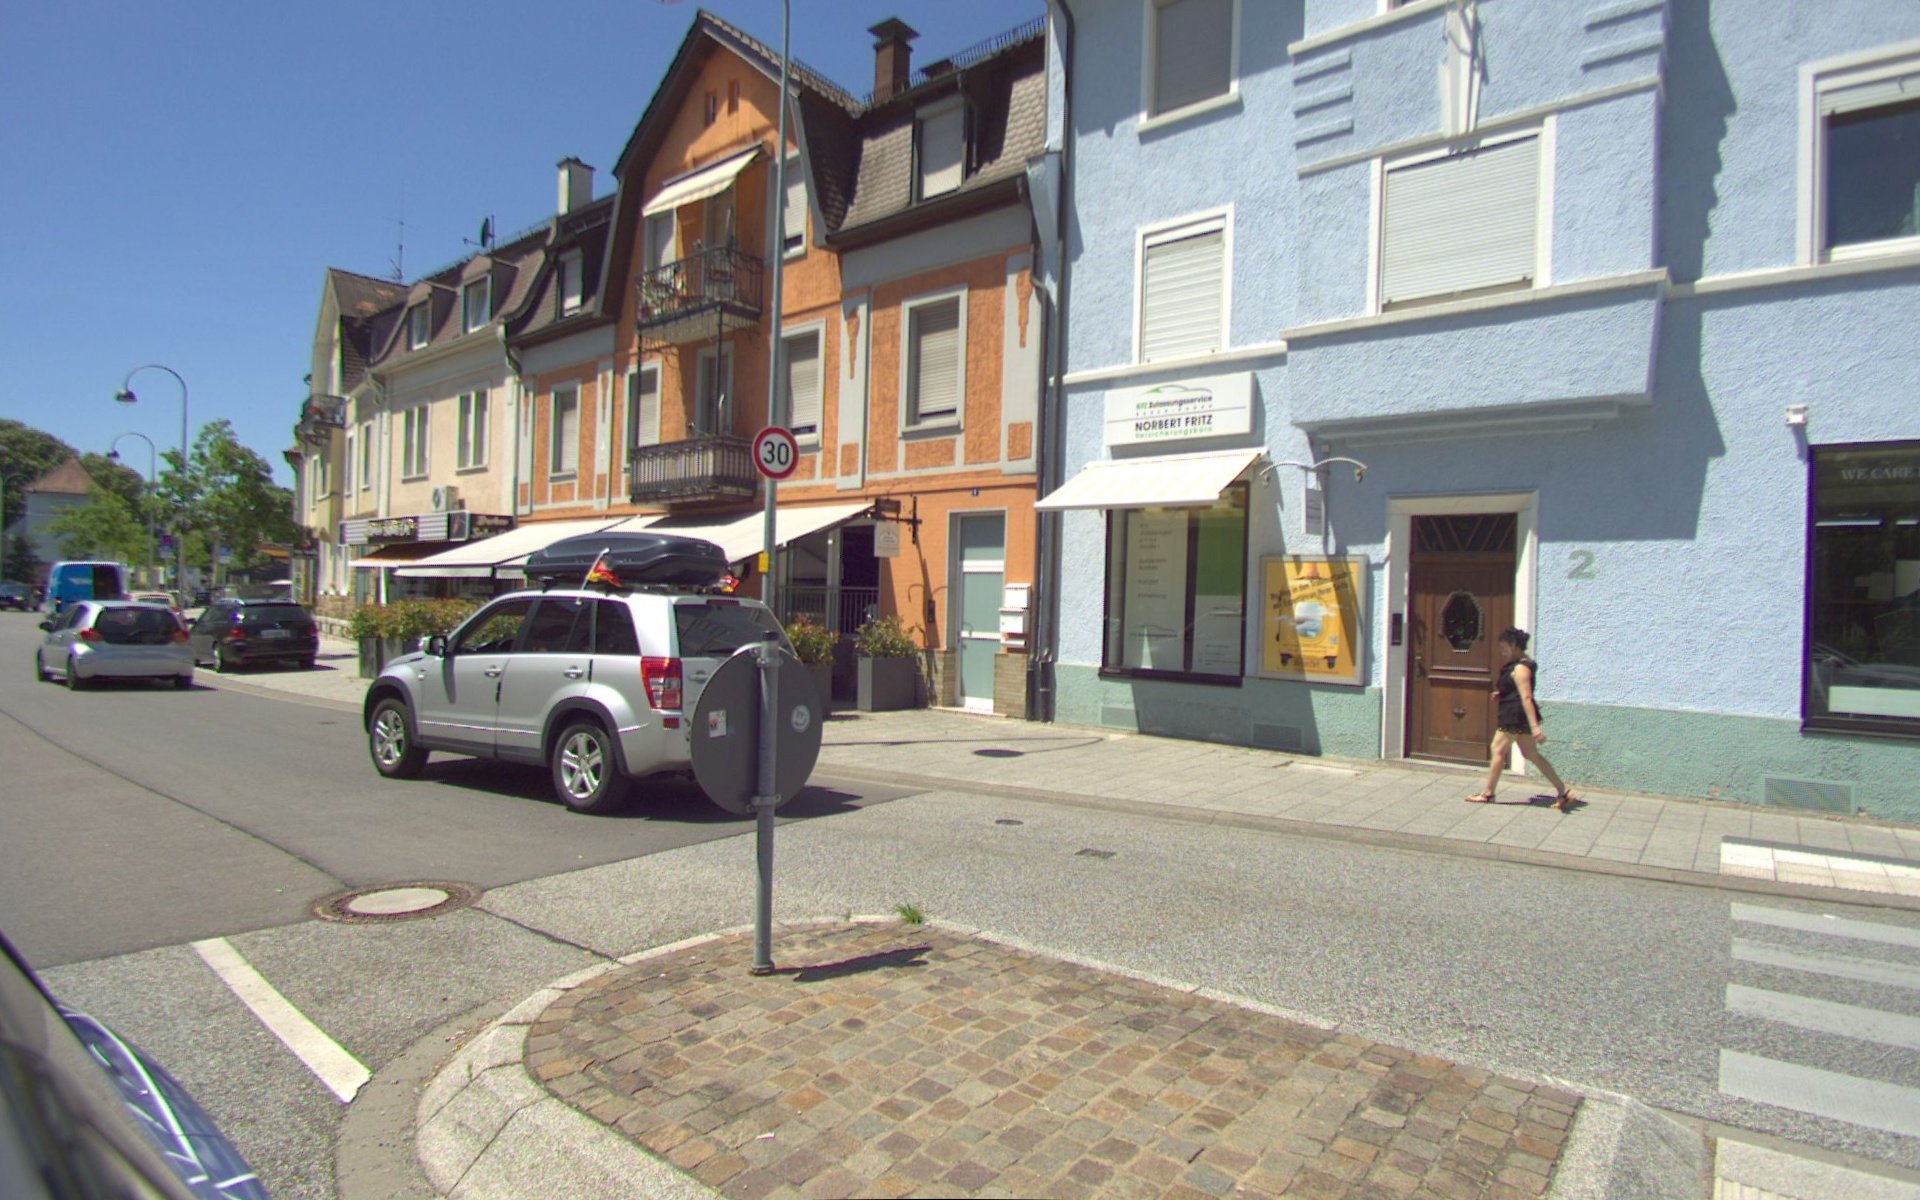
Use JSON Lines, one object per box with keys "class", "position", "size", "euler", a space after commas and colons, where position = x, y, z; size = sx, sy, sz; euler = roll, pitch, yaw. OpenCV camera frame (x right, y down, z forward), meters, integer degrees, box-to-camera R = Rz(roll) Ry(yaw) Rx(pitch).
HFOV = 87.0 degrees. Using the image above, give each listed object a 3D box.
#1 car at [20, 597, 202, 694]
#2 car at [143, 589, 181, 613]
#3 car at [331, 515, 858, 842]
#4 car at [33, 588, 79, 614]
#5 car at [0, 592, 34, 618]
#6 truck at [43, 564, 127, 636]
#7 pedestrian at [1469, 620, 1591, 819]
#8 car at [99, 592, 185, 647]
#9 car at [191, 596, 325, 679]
{"class": "car", "position": [-14.735, 0.746, 17.508], "size": [3.589, 1.469, 1.661], "euler": [1, -3, 38]}
{"class": "car", "position": [-52.336, 0.051, 66.450], "size": [1.655, 1.558, 3.604], "euler": [0, 0, -34]}
{"class": "car", "position": [-3.224, 0.515, 8.632], "size": [4.438, 2.123, 1.909], "euler": [1, -2, 34]}
{"class": "car", "position": [-56.878, 0.055, 63.720], "size": [1.655, 1.558, 3.604], "euler": [0, 0, -34]}
{"class": "car", "position": [-60.068, 0.286, 63.813], "size": [1.725, 1.558, 3.605], "euler": [0, 0, -30]}
{"class": "truck", "position": [-31.042, -0.015, 35.855], "size": [4.339, 2.388, 1.933], "euler": [1, 0, 45]}
{"class": "pedestrian", "position": [4.755, 0.949, 8.441], "size": [0.802, 1.536, 0.620], "euler": [0, 0, 38]}
{"class": "car", "position": [-25.060, 0.550, 30.980], "size": [3.596, 1.558, 1.659], "euler": [1, 0, 45]}
{"class": "car", "position": [-14.935, 0.718, 21.450], "size": [3.948, 1.558, 1.659], "euler": [1, 0, 45]}
